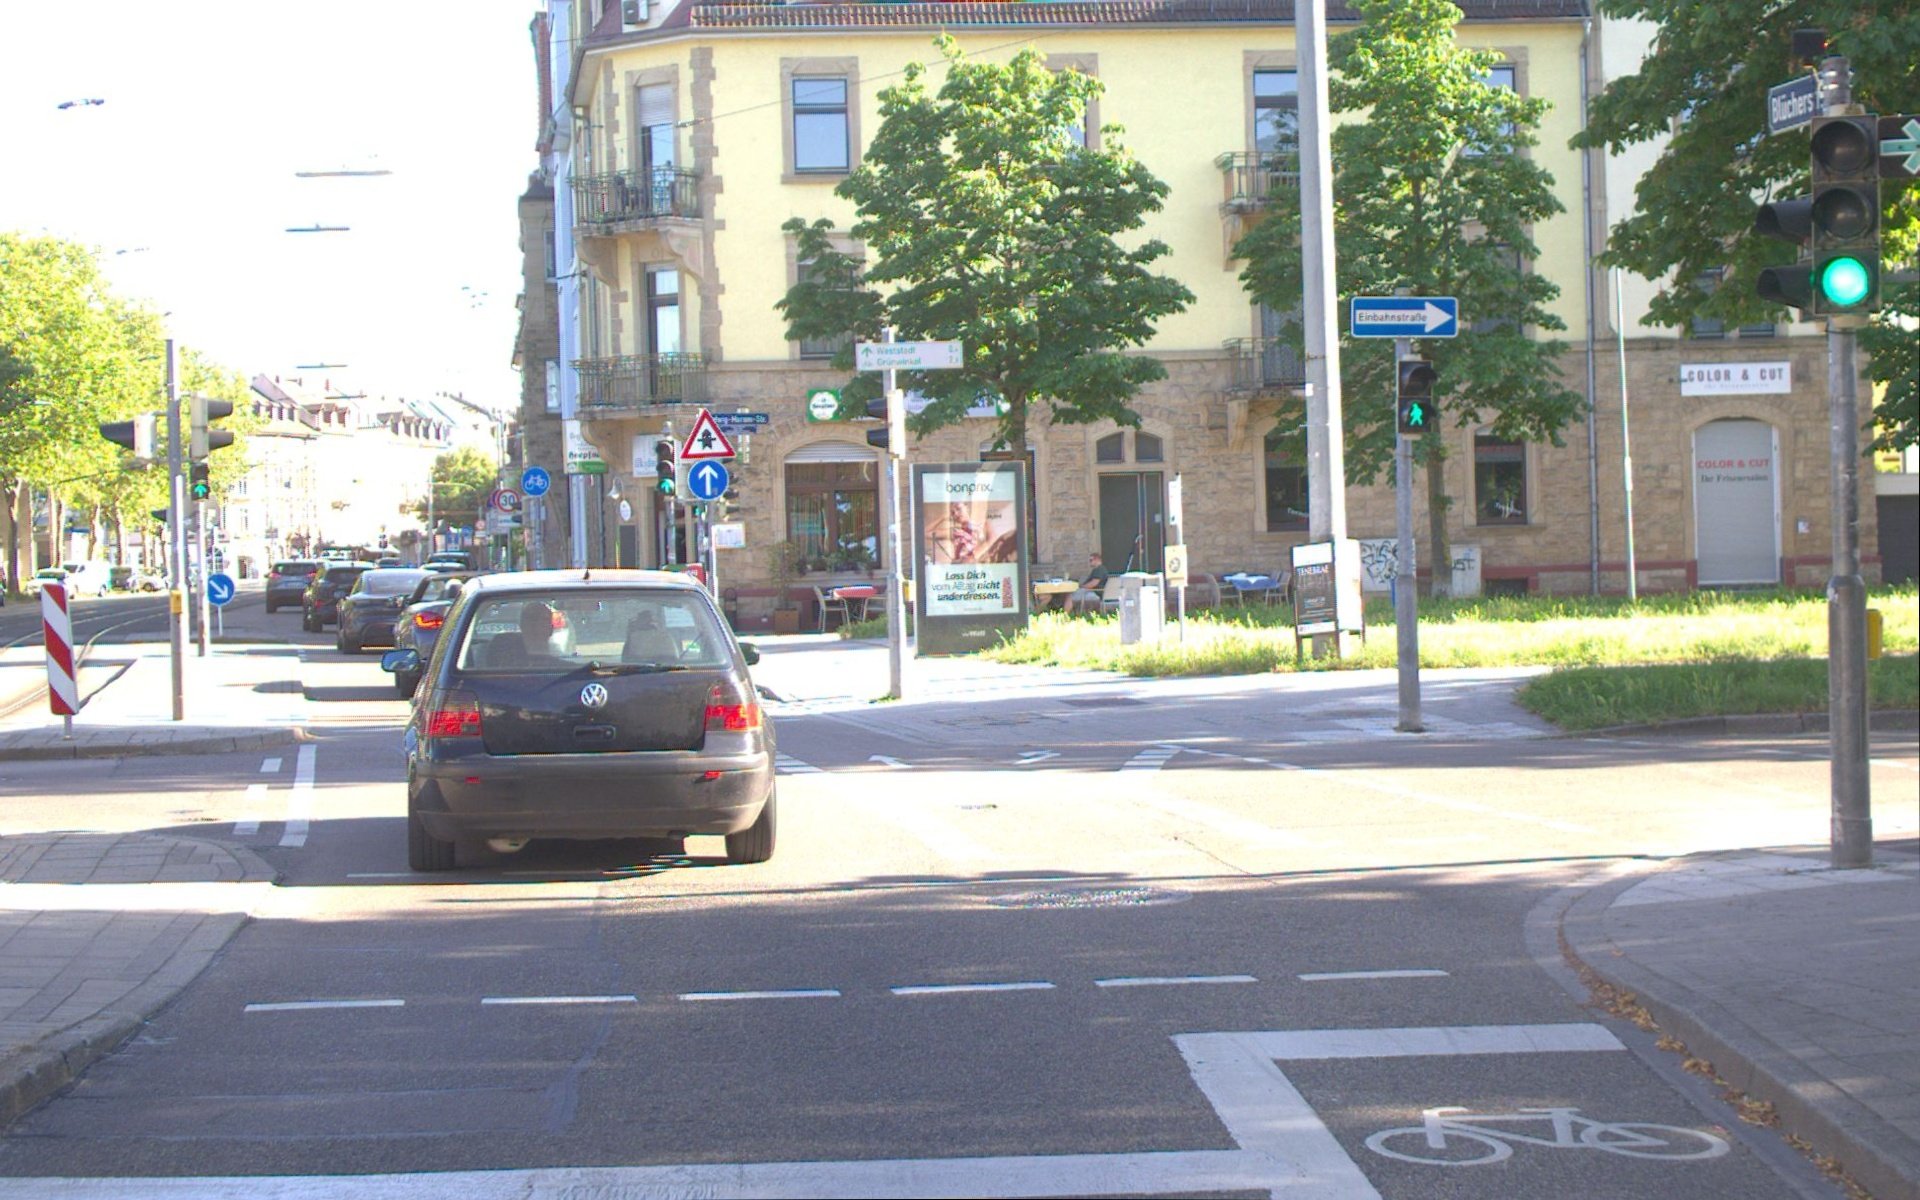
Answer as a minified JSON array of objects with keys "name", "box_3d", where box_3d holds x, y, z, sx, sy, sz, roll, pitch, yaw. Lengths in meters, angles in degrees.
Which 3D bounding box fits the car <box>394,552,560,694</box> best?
[{"name":"car","box_3d":[-5.171,0.205,37.013,1.634,1.367,3.758,-2,1,-7]}]

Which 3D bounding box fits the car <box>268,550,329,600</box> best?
[{"name":"car","box_3d":[-20.014,-0.774,104.092,1.680,1.448,3.380,-2,1,-10]}]

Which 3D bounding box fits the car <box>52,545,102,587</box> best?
[{"name":"car","box_3d":[-43.777,-1.688,170.460,1.993,2.007,4.001,-2,0,-9]}]

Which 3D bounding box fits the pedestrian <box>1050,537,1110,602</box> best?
[{"name":"pedestrian","box_3d":[2.273,-0.580,65.206,0.979,1.183,0.743,-2,1,-8]}]

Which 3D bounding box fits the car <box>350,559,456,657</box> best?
[{"name":"car","box_3d":[-9.065,0.102,55.793,1.569,1.306,3.648,-2,4,-10]}]

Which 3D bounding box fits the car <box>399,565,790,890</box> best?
[{"name":"car","box_3d":[-1.914,0.537,17.149,1.715,1.398,4.007,0,1,-9]}]

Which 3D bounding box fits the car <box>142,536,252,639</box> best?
[{"name":"car","box_3d":[-14.397,-0.269,64.988,1.786,1.853,4.001,-1,1,-10]}]

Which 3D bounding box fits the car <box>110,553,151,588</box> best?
[{"name":"car","box_3d":[-49.428,-1.774,204.931,1.993,2.007,4.001,-2,0,-9]}]
